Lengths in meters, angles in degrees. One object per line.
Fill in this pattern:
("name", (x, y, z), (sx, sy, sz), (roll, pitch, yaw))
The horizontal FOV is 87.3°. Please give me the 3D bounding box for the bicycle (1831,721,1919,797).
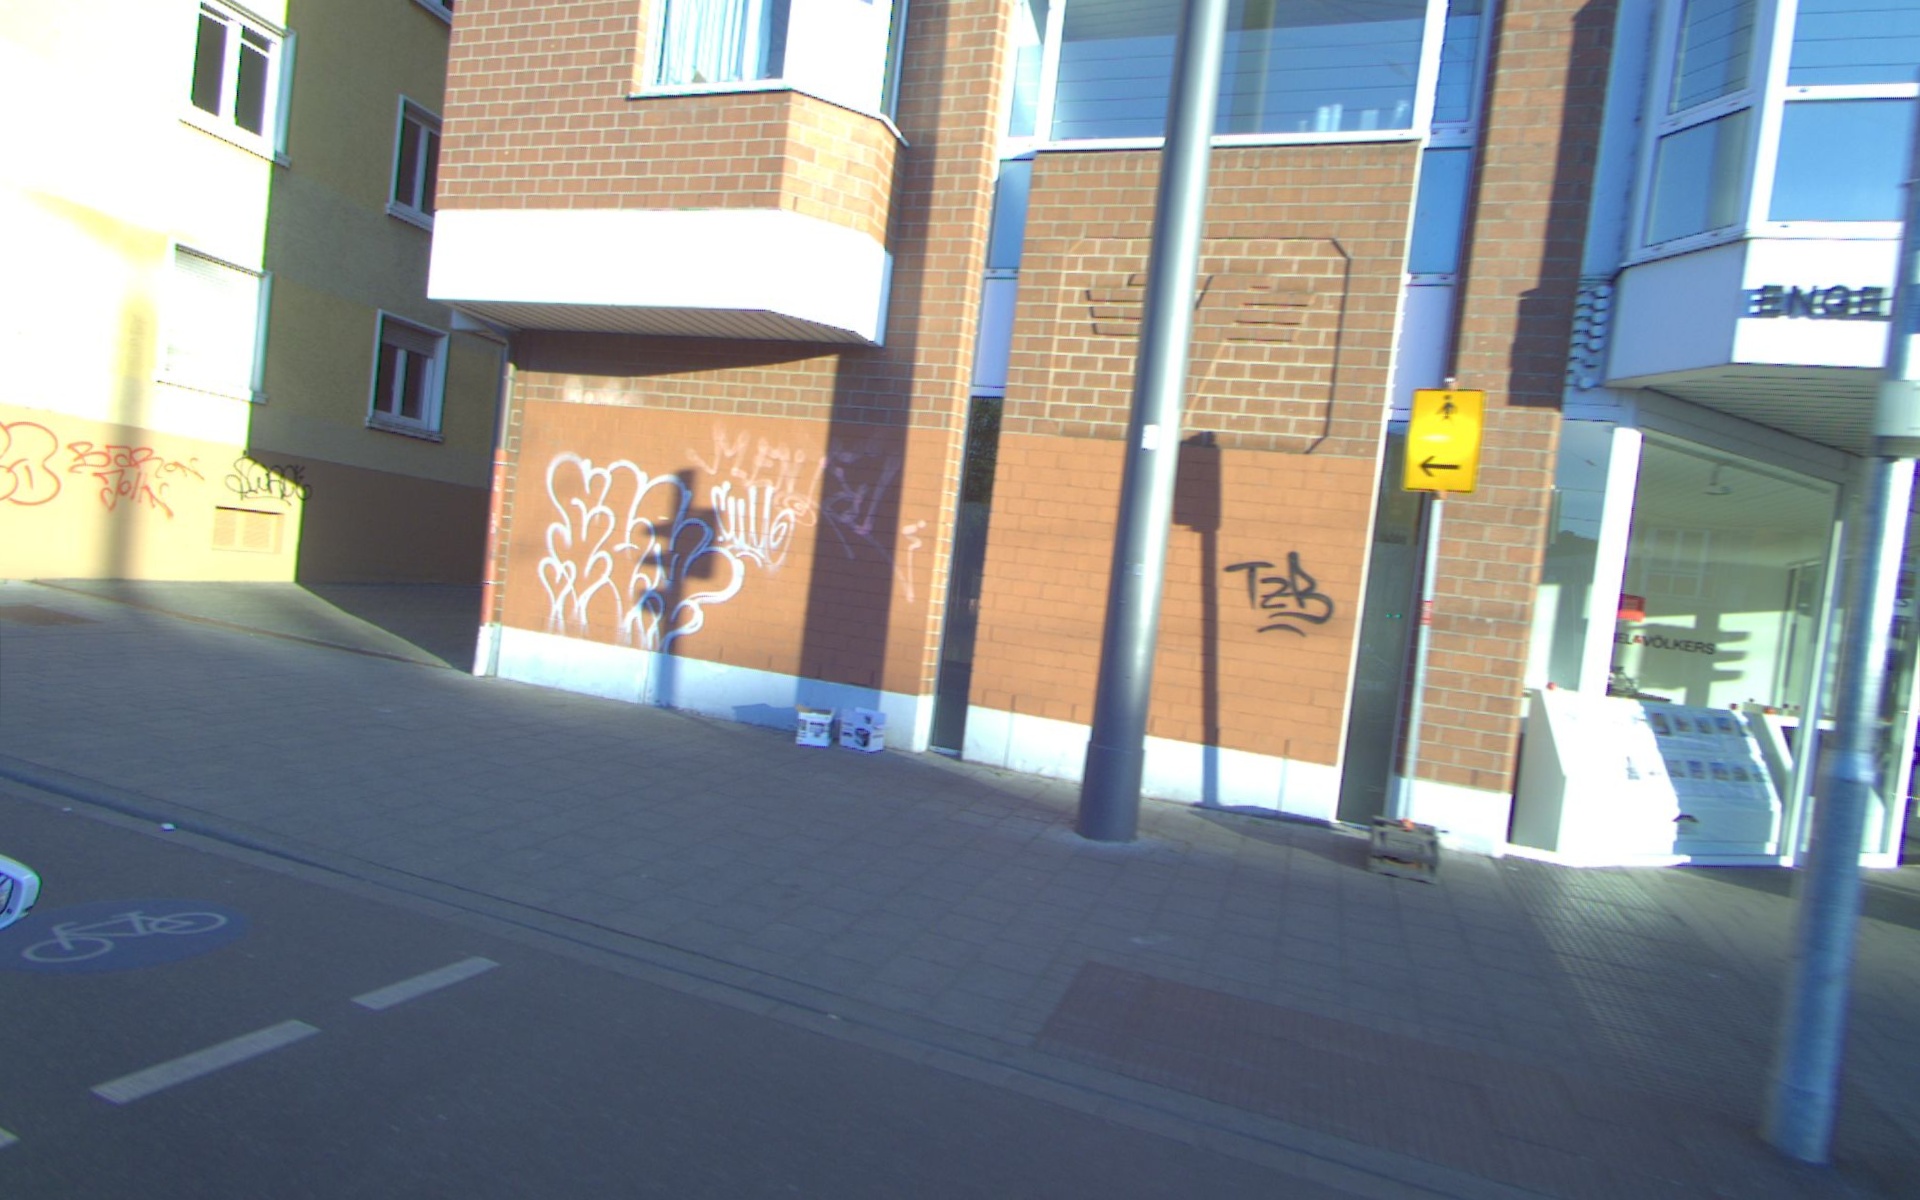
("bicycle", (17.164, 2.919, 17.585), (2.690, 1.116, 0.812), (7, 1, 25))
